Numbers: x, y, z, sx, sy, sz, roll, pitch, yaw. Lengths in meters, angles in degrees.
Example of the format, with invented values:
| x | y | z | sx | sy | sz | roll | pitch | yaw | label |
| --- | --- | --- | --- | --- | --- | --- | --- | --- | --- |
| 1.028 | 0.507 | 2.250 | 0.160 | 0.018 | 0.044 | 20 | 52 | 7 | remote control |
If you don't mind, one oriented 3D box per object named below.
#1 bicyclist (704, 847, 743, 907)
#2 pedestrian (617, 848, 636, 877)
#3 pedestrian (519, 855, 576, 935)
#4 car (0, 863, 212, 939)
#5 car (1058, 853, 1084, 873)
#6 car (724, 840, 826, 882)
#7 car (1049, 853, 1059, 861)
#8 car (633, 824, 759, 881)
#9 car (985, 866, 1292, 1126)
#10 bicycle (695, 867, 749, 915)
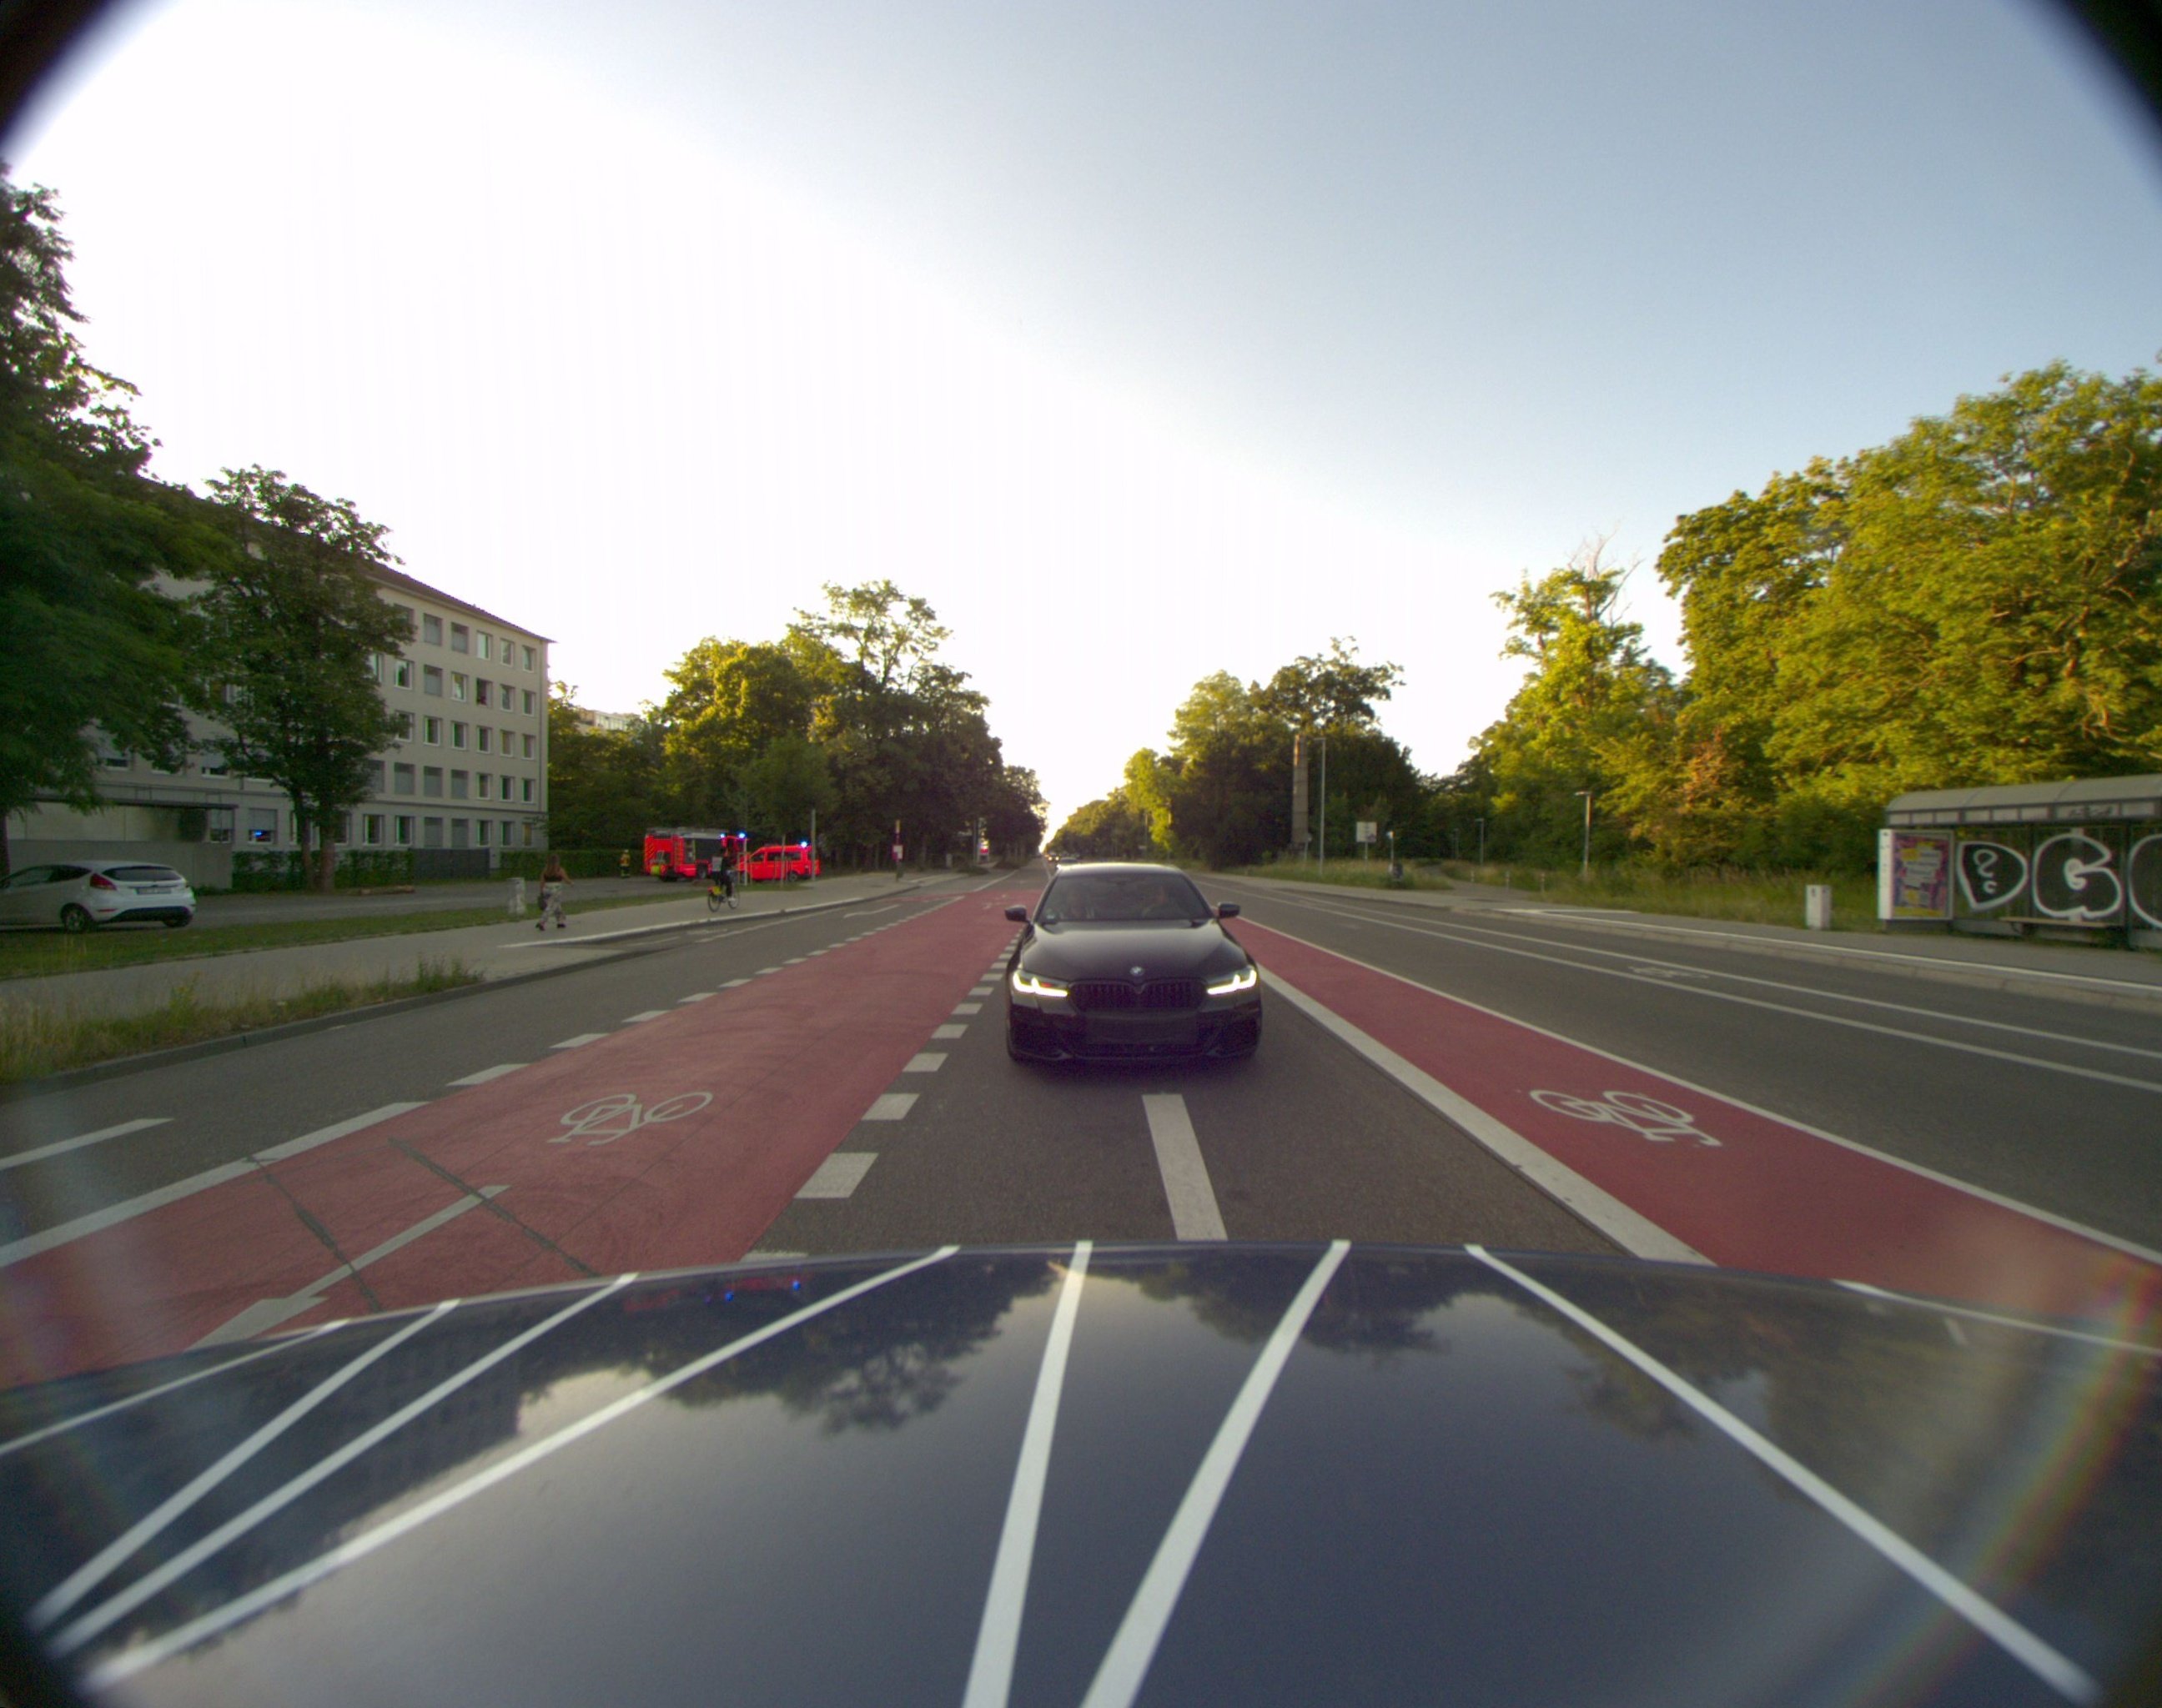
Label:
| x | y | z | sx | sy | sz | roll | pitch | yaw | label |
| --- | --- | --- | --- | --- | --- | --- | --- | --- | --- |
| -9.926 | 0.623 | 21.131 | 0.571 | 1.623 | 1.038 | 0 | 1 | 1 | bicyclist |
| -29.587 | 0.539 | 49.444 | 0.844 | 1.831 | 0.684 | 0 | 0 | 16 | pedestrian |
| -10.939 | 0.822 | 15.603 | 0.682 | 1.613 | 0.688 | 0 | 0 | 1 | pedestrian |
| -20.817 | 0.927 | 15.875 | 3.662 | 1.451 | 1.665 | 0 | 1 | 5 | car |
| -0.794 | 0.661 | 57.856 | 1.850 | 1.346 | 4.702 | -2 | 0 | -1 | car |
| -17.941 | 0.398 | 44.704 | 5.164 | 2.379 | 2.000 | 0 | 1 | 3 | car |
| -4.996 | 0.577 | 141.306 | 1.850 | 1.473 | 4.702 | -2 | 0 | -1 | car |
| -23.621 | -0.132 | 47.233 | 2.770 | 3.225 | 8.301 | 0 | 0 | 7 | car |
| 0.324 | 0.905 | 7.219 | 1.818 | 1.391 | 5.212 | -2 | 0 | -1 | car |
| -9.927 | 1.002 | 21.057 | 0.571 | 1.233 | 1.899 | 0 | 1 | 1 | bicycle |
